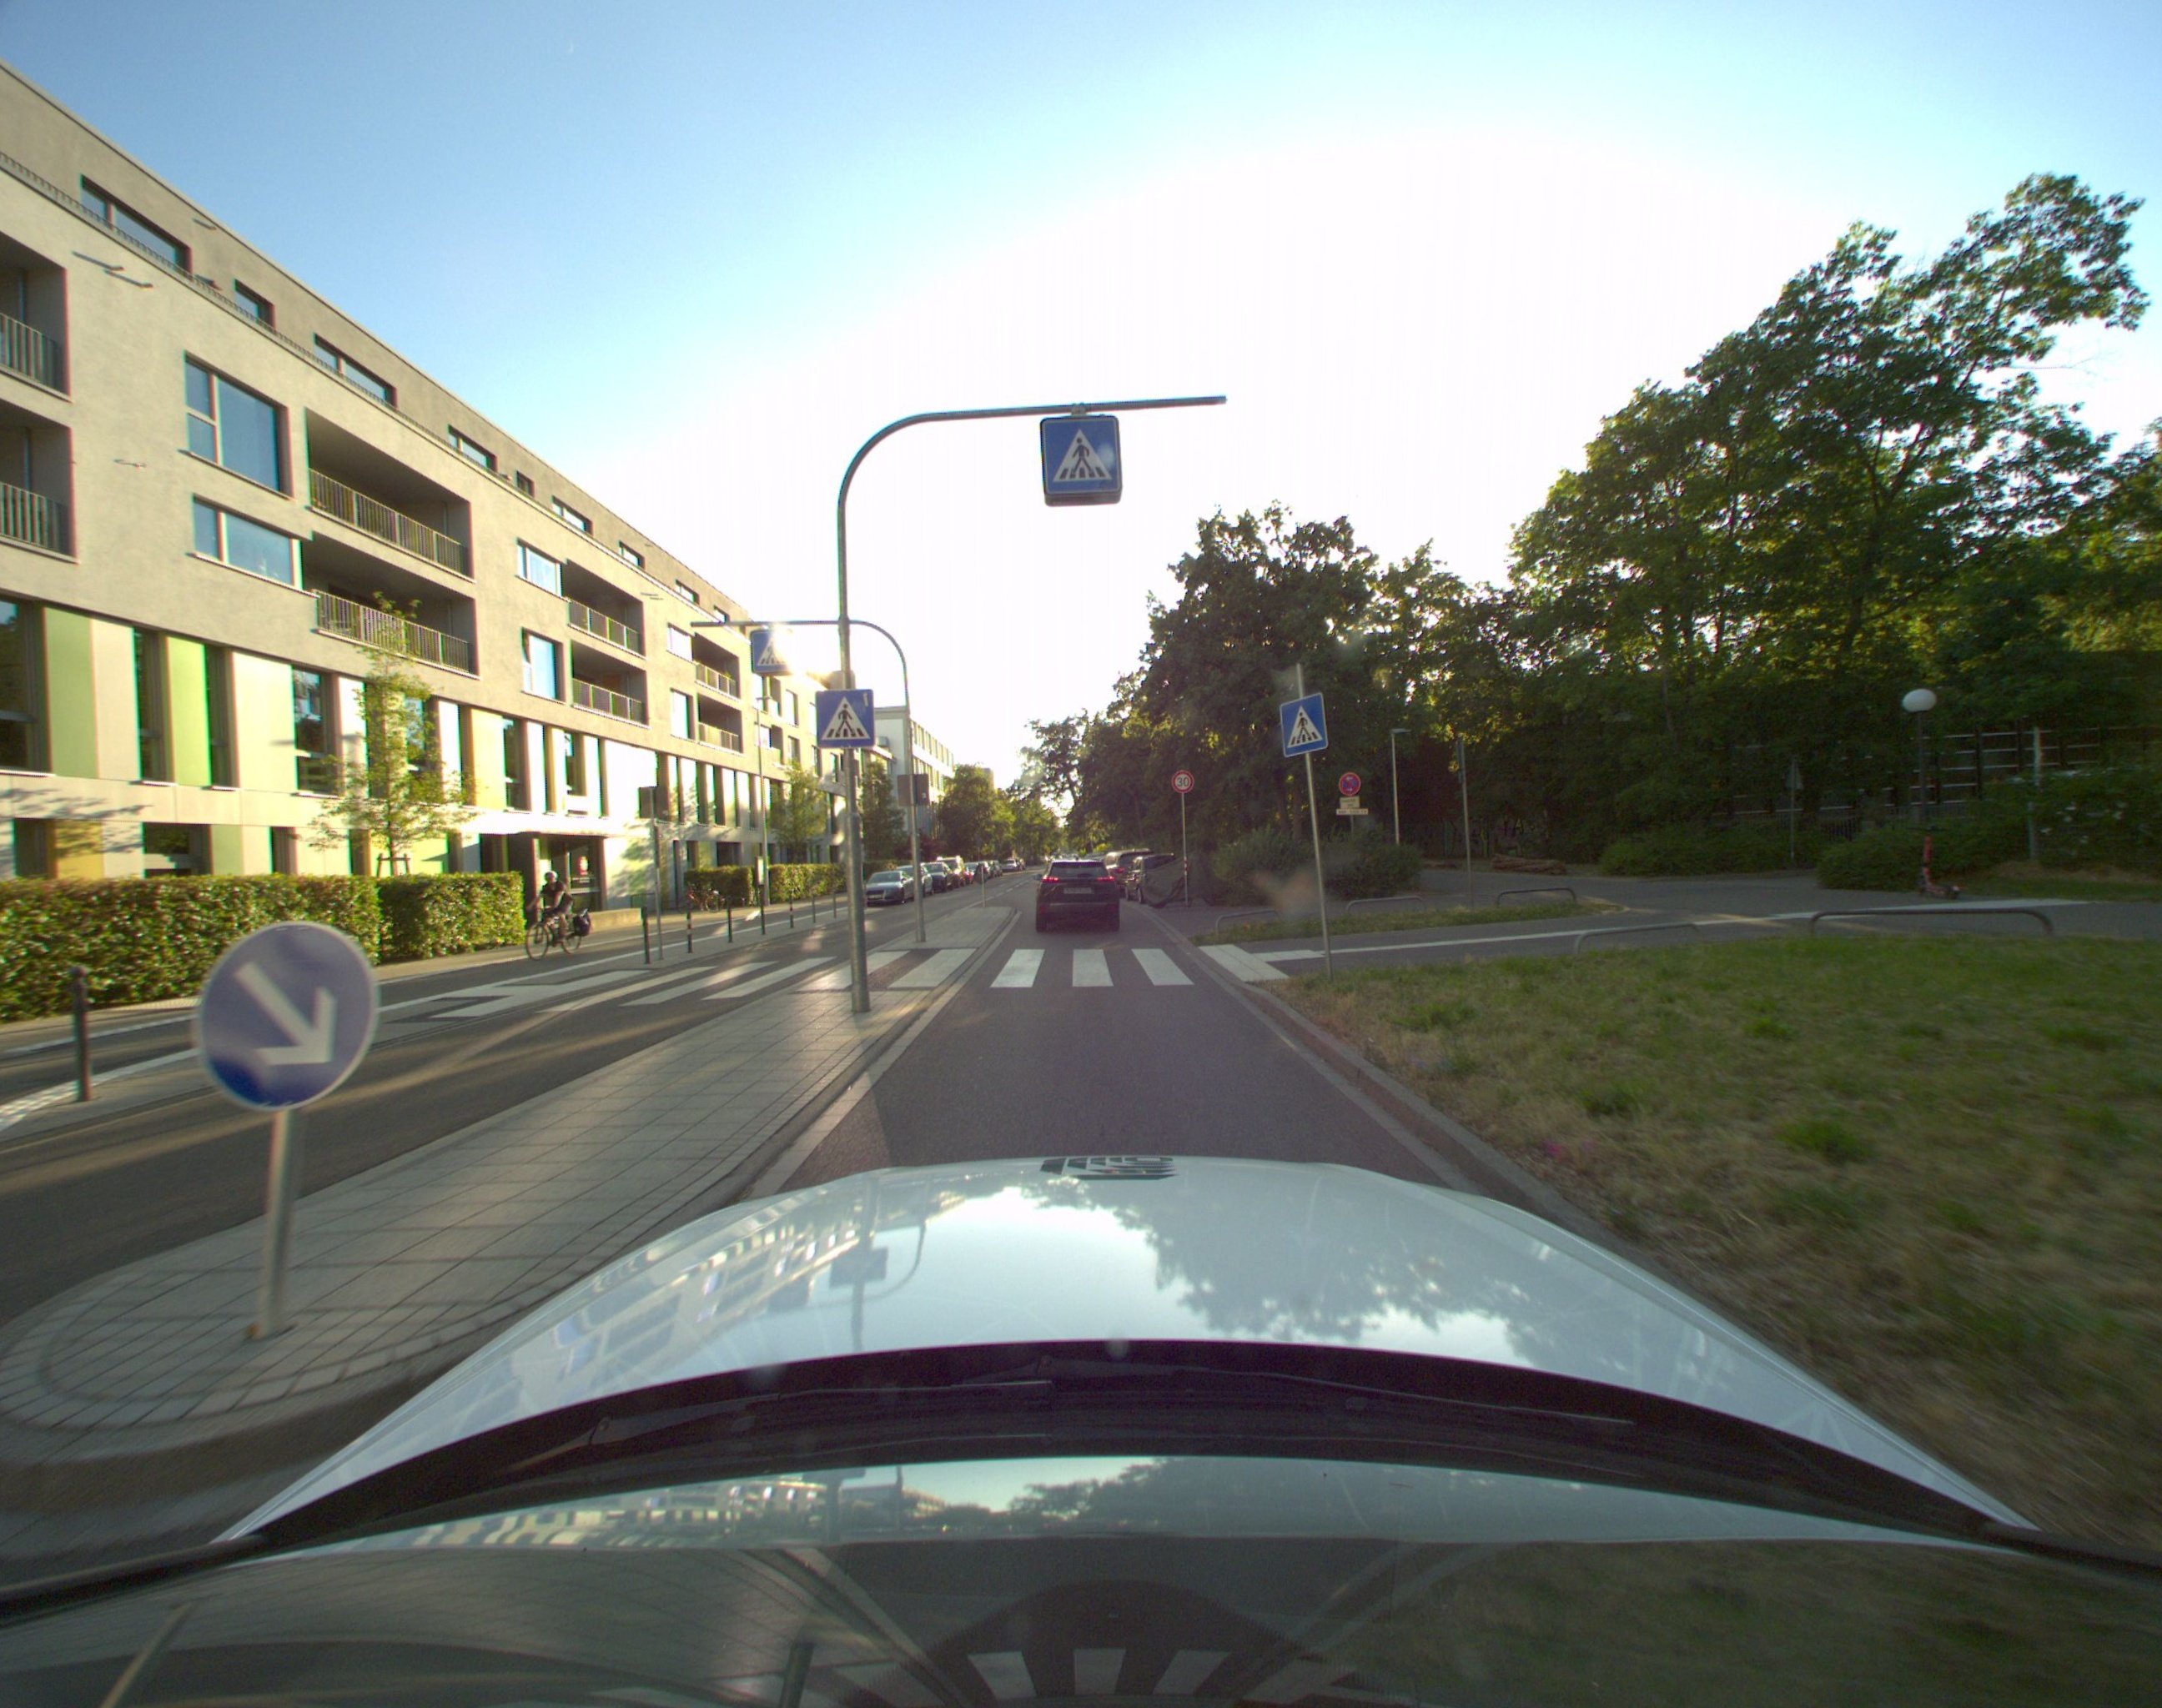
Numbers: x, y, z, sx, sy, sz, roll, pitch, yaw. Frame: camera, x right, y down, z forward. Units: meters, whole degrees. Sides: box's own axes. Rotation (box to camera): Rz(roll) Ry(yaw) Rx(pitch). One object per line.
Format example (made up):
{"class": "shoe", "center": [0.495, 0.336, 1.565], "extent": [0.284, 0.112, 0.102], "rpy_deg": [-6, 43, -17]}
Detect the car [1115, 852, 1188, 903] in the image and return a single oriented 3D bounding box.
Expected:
{"class": "car", "center": [2.250, 0.736, 26.750], "extent": [1.618, 1.486, 3.410], "rpy_deg": [-3, 0, -7]}

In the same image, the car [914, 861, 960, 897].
{"class": "car", "center": [-7.870, 1.311, 44.825], "extent": [1.737, 1.676, 4.414], "rpy_deg": [-4, 0, -1]}

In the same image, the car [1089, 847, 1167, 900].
{"class": "car", "center": [1.677, 0.694, 30.931], "extent": [1.922, 1.748, 4.651], "rpy_deg": [-3, 0, -9]}

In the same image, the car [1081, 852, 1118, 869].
{"class": "car", "center": [2.124, 0.743, 92.480], "extent": [4.109, 1.667, 1.722], "rpy_deg": [-3, 0, -1]}

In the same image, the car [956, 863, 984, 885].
{"class": "car", "center": [-8.163, 1.432, 60.086], "extent": [1.594, 1.455, 3.859], "rpy_deg": [-3, 0, -1]}

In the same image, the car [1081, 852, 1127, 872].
{"class": "car", "center": [2.194, 0.802, 79.175], "extent": [4.324, 1.475, 1.742], "rpy_deg": [-6, 1, 0]}

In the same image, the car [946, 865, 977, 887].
{"class": "car", "center": [-8.107, 1.466, 55.612], "extent": [1.552, 1.280, 3.731], "rpy_deg": [-4, 0, -1]}

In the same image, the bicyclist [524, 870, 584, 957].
{"class": "bicyclist", "center": [-10.539, 1.168, 16.316], "extent": [0.624, 1.644, 0.757], "rpy_deg": [-3, 0, -1]}

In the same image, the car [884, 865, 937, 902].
{"class": "car", "center": [-8.183, 1.384, 39.386], "extent": [1.738, 1.533, 4.112], "rpy_deg": [-3, 0, -2]}

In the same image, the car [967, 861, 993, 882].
{"class": "car", "center": [-8.154, 1.412, 66.176], "extent": [1.594, 1.455, 4.053], "rpy_deg": [-4, 0, -1]}

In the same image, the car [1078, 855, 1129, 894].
{"class": "car", "center": [0.938, 0.888, 36.969], "extent": [1.649, 1.567, 4.291], "rpy_deg": [-3, 0, -7]}

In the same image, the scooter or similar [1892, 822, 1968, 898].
{"class": "scooter or similar", "center": [14.342, 0.086, 13.793], "extent": [0.382, 1.207, 1.479], "rpy_deg": [-3, 0, 27]}

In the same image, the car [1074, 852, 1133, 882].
{"class": "car", "center": [1.452, 0.834, 53.267], "extent": [3.601, 1.525, 1.670], "rpy_deg": [-6, 0, -3]}

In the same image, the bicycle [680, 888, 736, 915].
{"class": "bicycle", "center": [-13.942, 1.757, 30.475], "extent": [1.747, 0.918, 0.617], "rpy_deg": [-2, 0, -3]}

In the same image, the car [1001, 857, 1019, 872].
{"class": "car", "center": [-8.069, 1.192, 93.042], "extent": [1.665, 1.493, 4.061], "rpy_deg": [-3, 0, 0]}

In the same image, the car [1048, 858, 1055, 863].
{"class": "car", "center": [-8.110, 1.732, 222.199], "extent": [1.807, 1.354, 3.973], "rpy_deg": [-3, 0, -4]}

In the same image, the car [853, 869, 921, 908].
{"class": "car", "center": [-8.052, 1.400, 34.129], "extent": [1.736, 1.356, 4.395], "rpy_deg": [-3, 0, 0]}

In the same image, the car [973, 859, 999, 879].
{"class": "car", "center": [-8.259, 1.301, 70.807], "extent": [1.592, 1.507, 3.789], "rpy_deg": [-4, 0, 2]}

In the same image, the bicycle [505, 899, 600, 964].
{"class": "bicycle", "center": [-10.522, 1.511, 16.285], "extent": [0.632, 1.078, 1.882], "rpy_deg": [-3, 0, -1]}

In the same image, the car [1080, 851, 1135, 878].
{"class": "car", "center": [1.864, 0.754, 58.333], "extent": [3.658, 1.552, 1.733], "rpy_deg": [-6, 0, -3]}

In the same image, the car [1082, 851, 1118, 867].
{"class": "car", "center": [2.292, 0.631, 97.221], "extent": [4.152, 1.710, 1.869], "rpy_deg": [-2, 0, 3]}

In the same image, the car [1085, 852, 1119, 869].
{"class": "car", "center": [2.328, 0.745, 90.004], "extent": [3.579, 1.566, 1.817], "rpy_deg": [-5, -1, -2]}

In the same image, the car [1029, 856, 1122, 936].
{"class": "car", "center": [-0.217, 0.860, 18.091], "extent": [1.766, 1.568, 3.373], "rpy_deg": [-1, 0, -6]}

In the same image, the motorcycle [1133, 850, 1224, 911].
{"class": "motorcycle", "center": [2.739, 0.731, 22.777], "extent": [2.272, 1.545, 1.045], "rpy_deg": [-3, 0, 20]}

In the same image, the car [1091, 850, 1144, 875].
{"class": "car", "center": [2.712, 0.650, 61.007], "extent": [3.714, 1.498, 1.820], "rpy_deg": [-6, -1, 0]}

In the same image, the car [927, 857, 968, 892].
{"class": "car", "center": [-8.181, 1.199, 50.342], "extent": [1.802, 1.889, 4.236], "rpy_deg": [-4, 0, -1]}

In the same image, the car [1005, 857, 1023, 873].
{"class": "car", "center": [-8.083, 1.264, 98.791], "extent": [1.674, 1.708, 4.340], "rpy_deg": [-4, 0, 0]}
